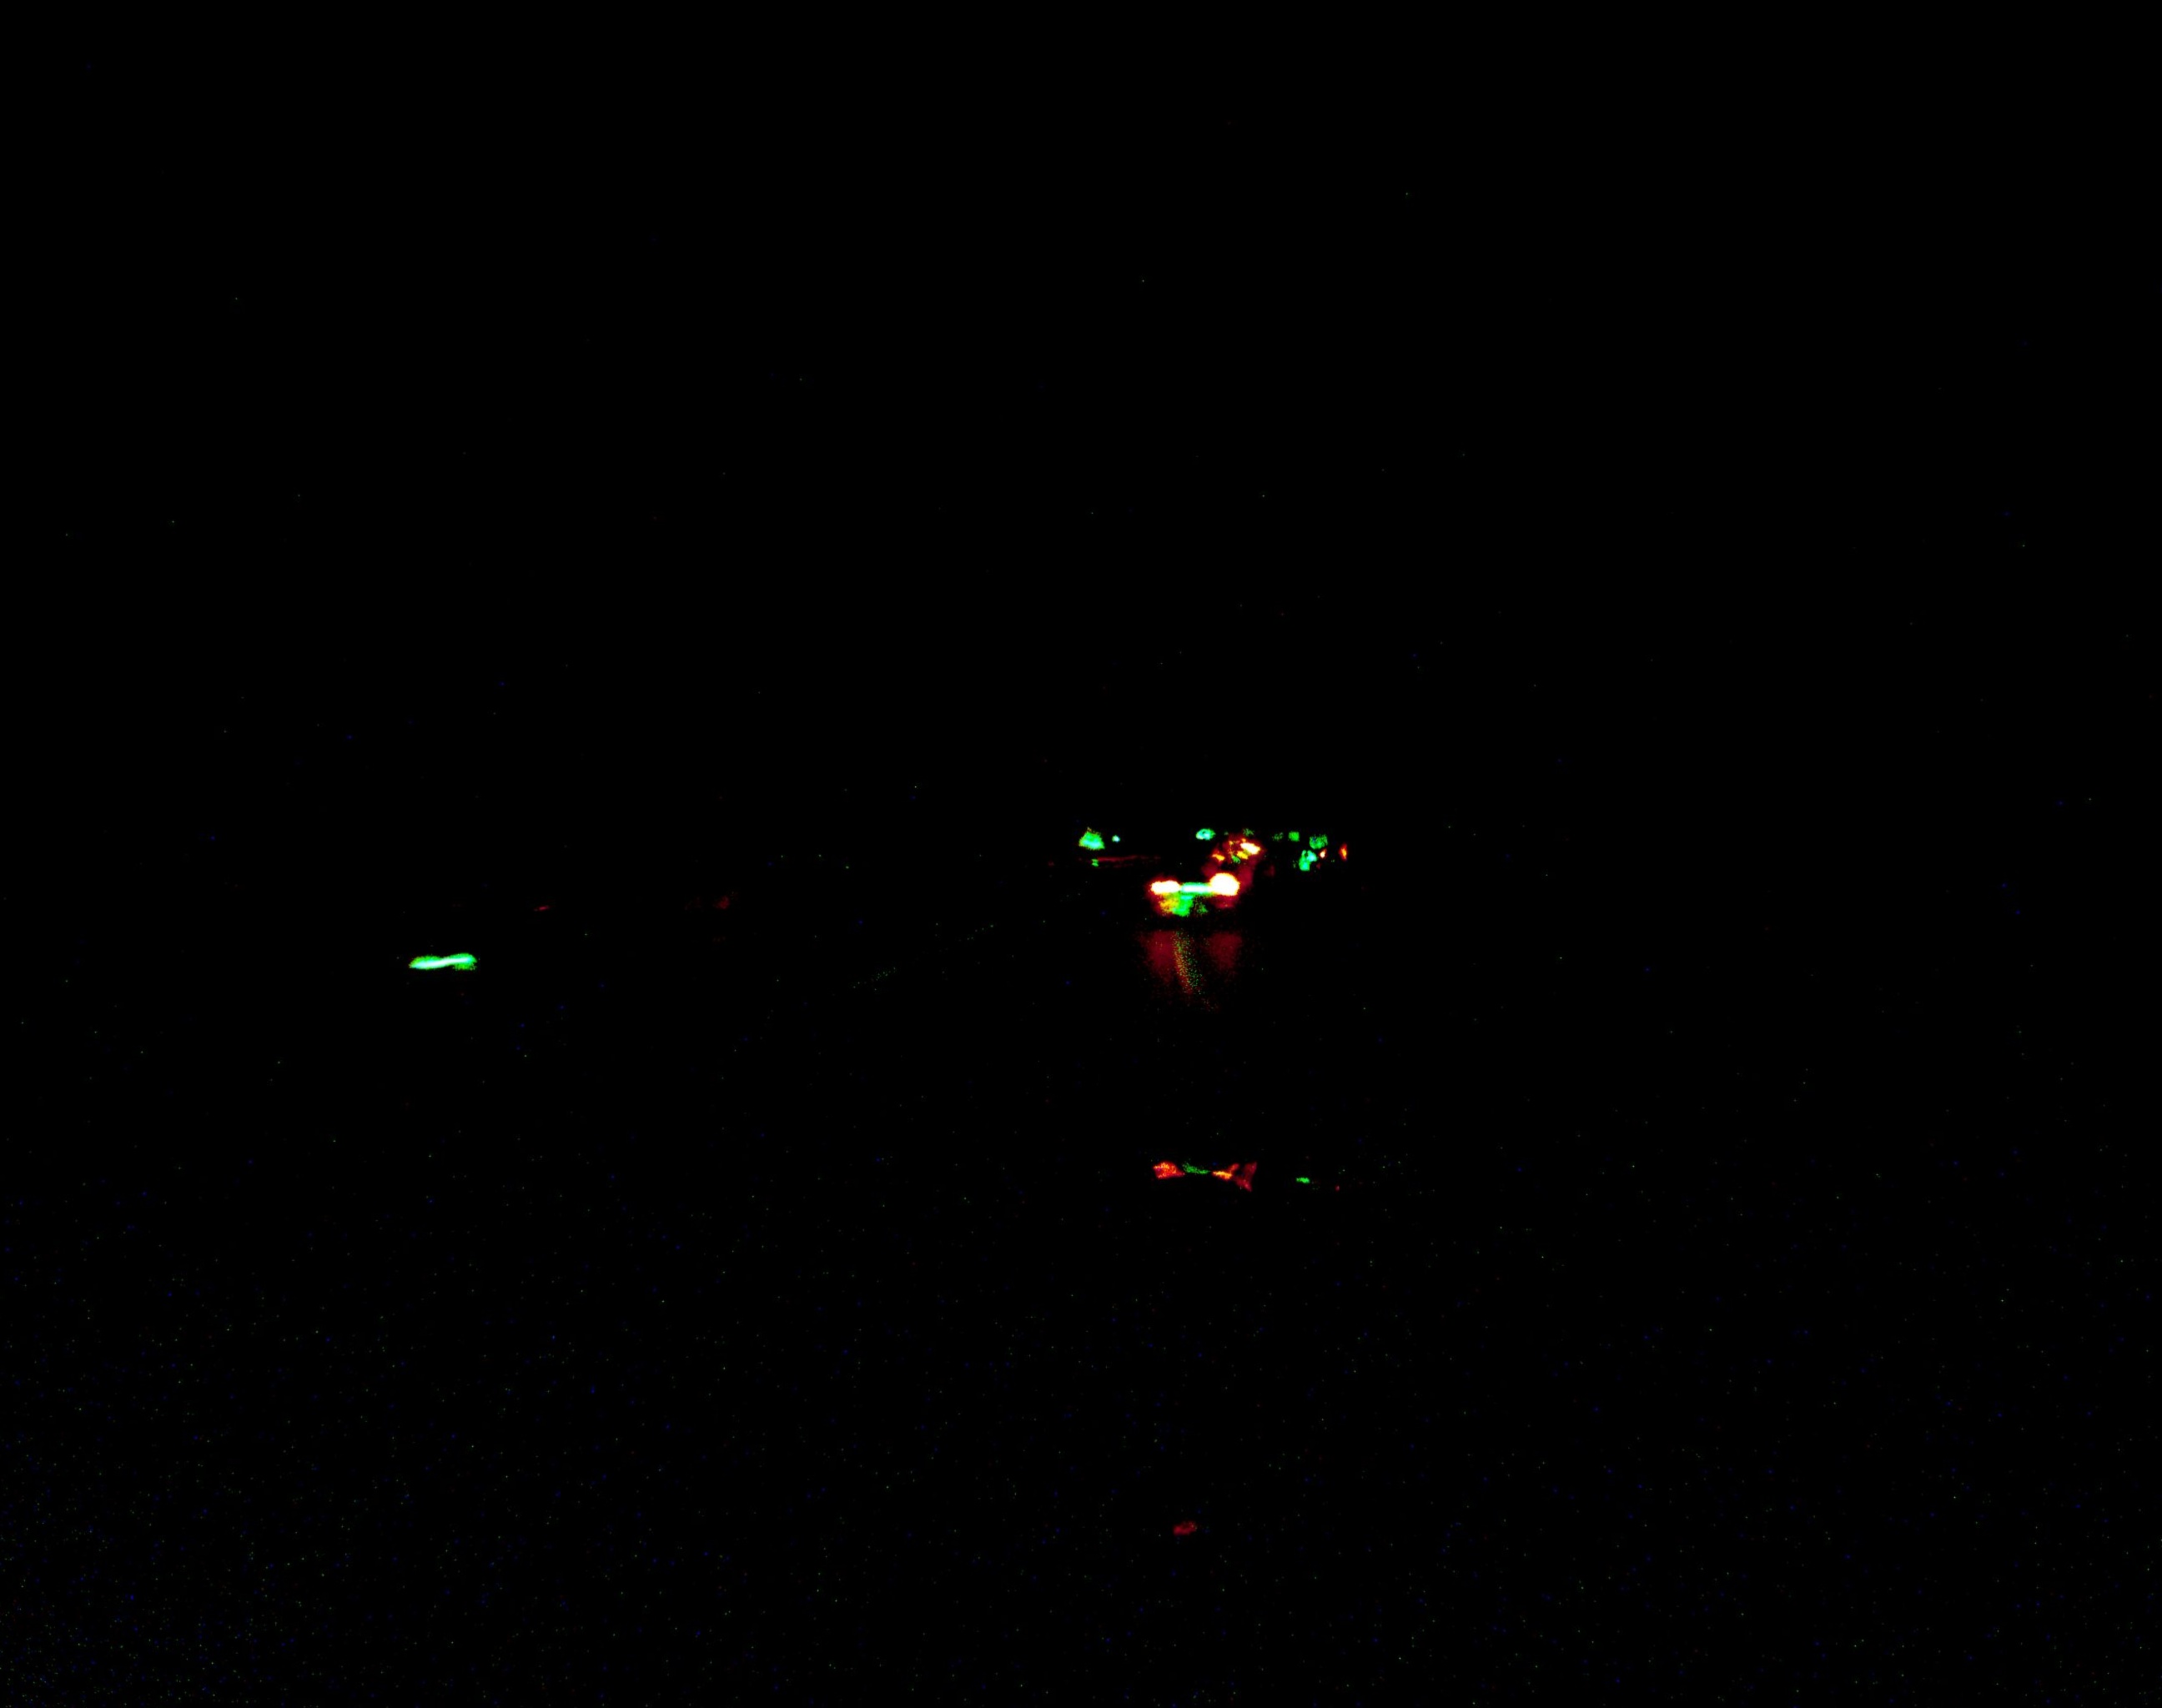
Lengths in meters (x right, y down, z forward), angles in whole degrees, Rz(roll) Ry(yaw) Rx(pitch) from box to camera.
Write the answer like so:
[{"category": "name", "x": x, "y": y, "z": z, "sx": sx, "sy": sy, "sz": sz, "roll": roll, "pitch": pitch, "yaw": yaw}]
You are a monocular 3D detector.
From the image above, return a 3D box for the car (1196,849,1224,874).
[{"category": "car", "x": 9.365, "y": 0.575, "z": 58.942, "sx": 1.883, "sy": 1.720, "sz": 4.057, "roll": -1, "pitch": -1, "yaw": 11}]

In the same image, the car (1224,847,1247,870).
[{"category": "car", "x": 14.123, "y": 0.416, "z": 74.140, "sx": 1.882, "sy": 2.040, "sz": 4.059, "roll": -1, "pitch": -1, "yaw": 12}]

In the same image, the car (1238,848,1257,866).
[{"category": "car", "x": 19.584, "y": 0.359, "z": 95.908, "sx": 1.884, "sy": 1.998, "sz": 4.056, "roll": -2, "pitch": -1, "yaw": 9}]

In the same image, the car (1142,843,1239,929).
[{"category": "car", "x": 2.285, "y": 0.630, "z": 17.829, "sx": 1.852, "sy": 1.647, "sz": 4.073, "roll": -1, "pitch": 0, "yaw": 4}]

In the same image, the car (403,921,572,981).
[{"category": "car", "x": -18.175, "y": 2.934, "z": 25.174, "sx": 1.713, "sy": 1.398, "sz": 3.946, "roll": -4, "pitch": -2, "yaw": 17}]
